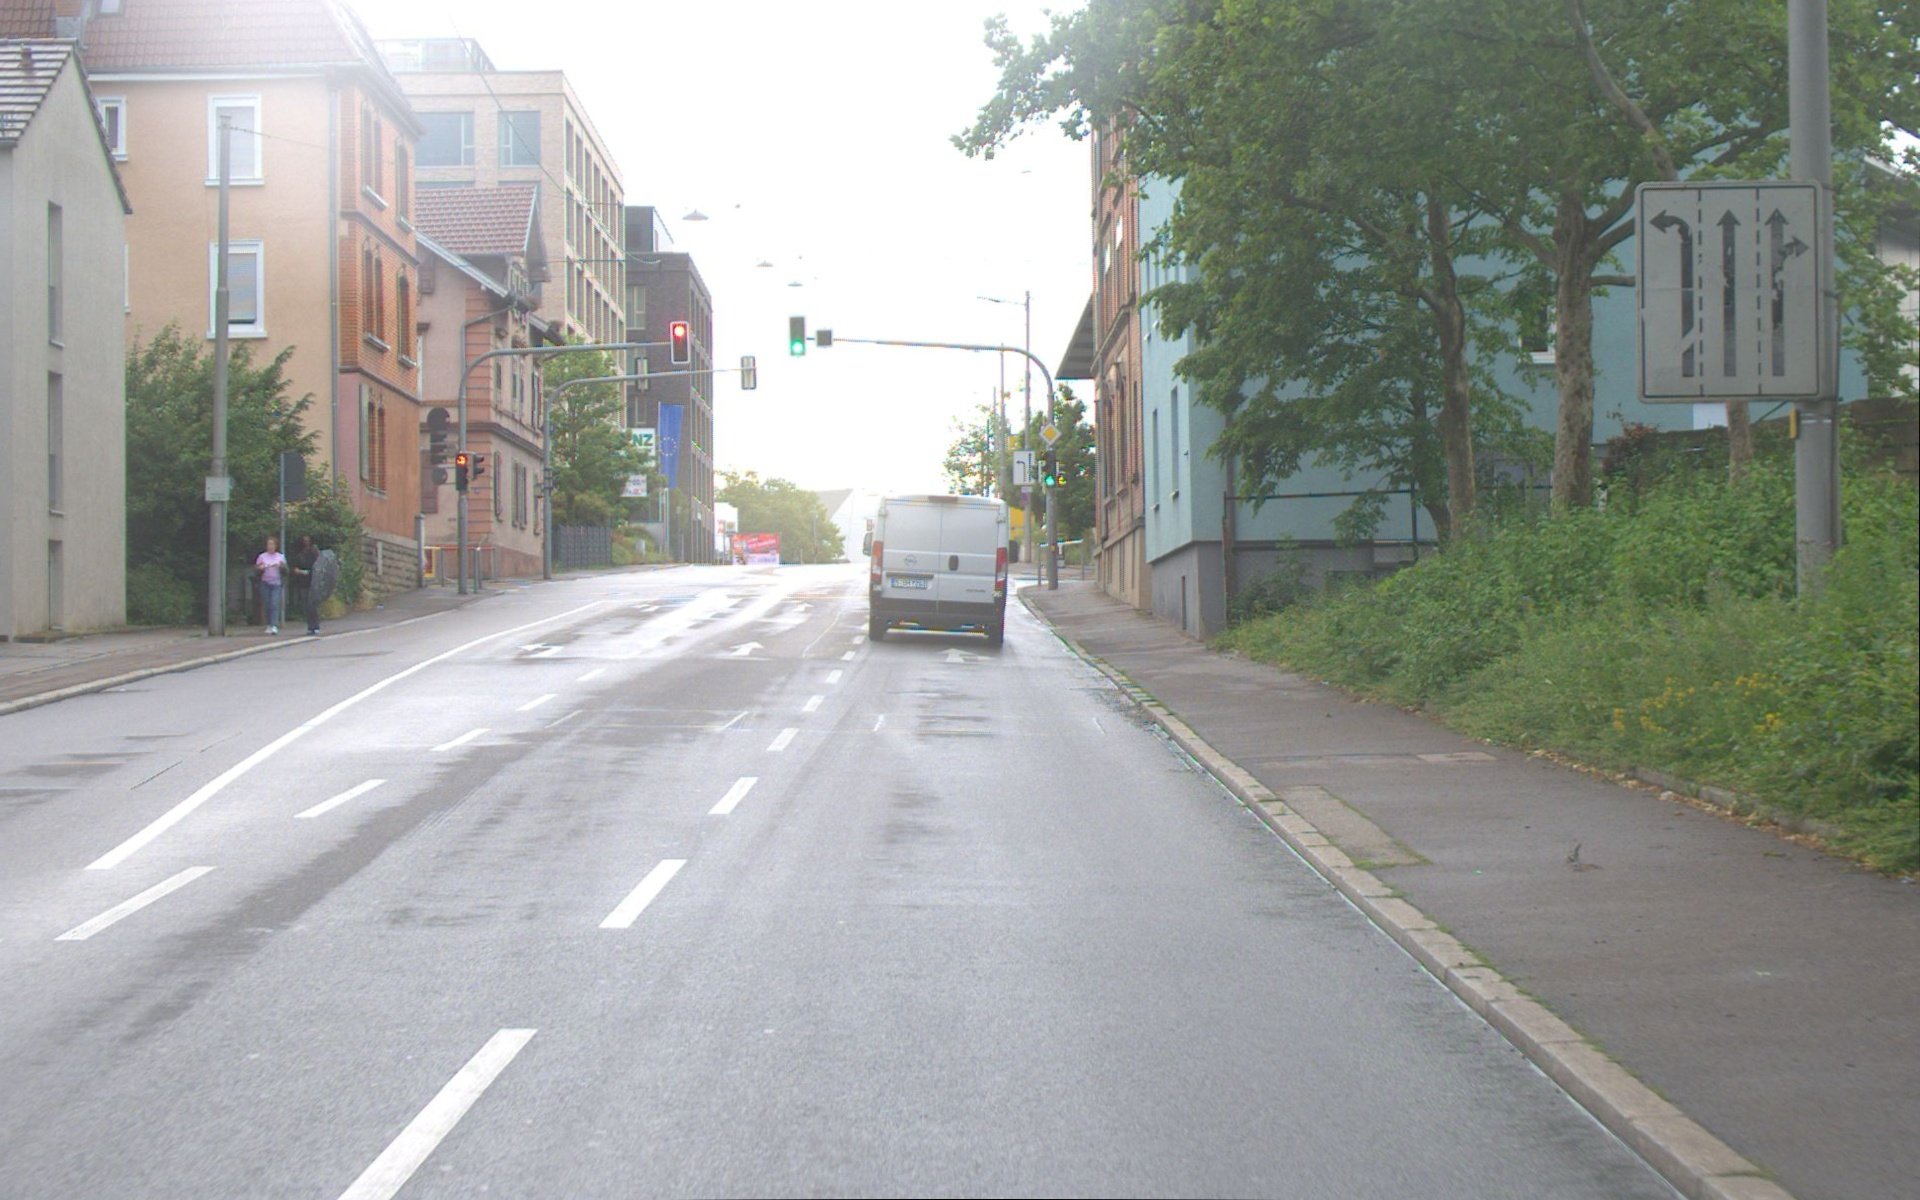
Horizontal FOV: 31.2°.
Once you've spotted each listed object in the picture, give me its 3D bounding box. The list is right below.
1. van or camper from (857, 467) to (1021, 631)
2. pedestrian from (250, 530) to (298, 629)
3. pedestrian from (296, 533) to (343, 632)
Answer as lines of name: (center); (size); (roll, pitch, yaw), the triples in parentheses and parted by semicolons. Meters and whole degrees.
van or camper: (-0.303, -0.765, 52.476); (2.340, 2.349, 5.199); (1, 1, 0)
pedestrian: (-11.889, -0.356, 59.602); (0.640, 1.700, 0.911); (0, 1, 0)
pedestrian: (-11.095, -0.305, 59.551); (0.640, 1.700, 0.911); (0, 1, 0)
